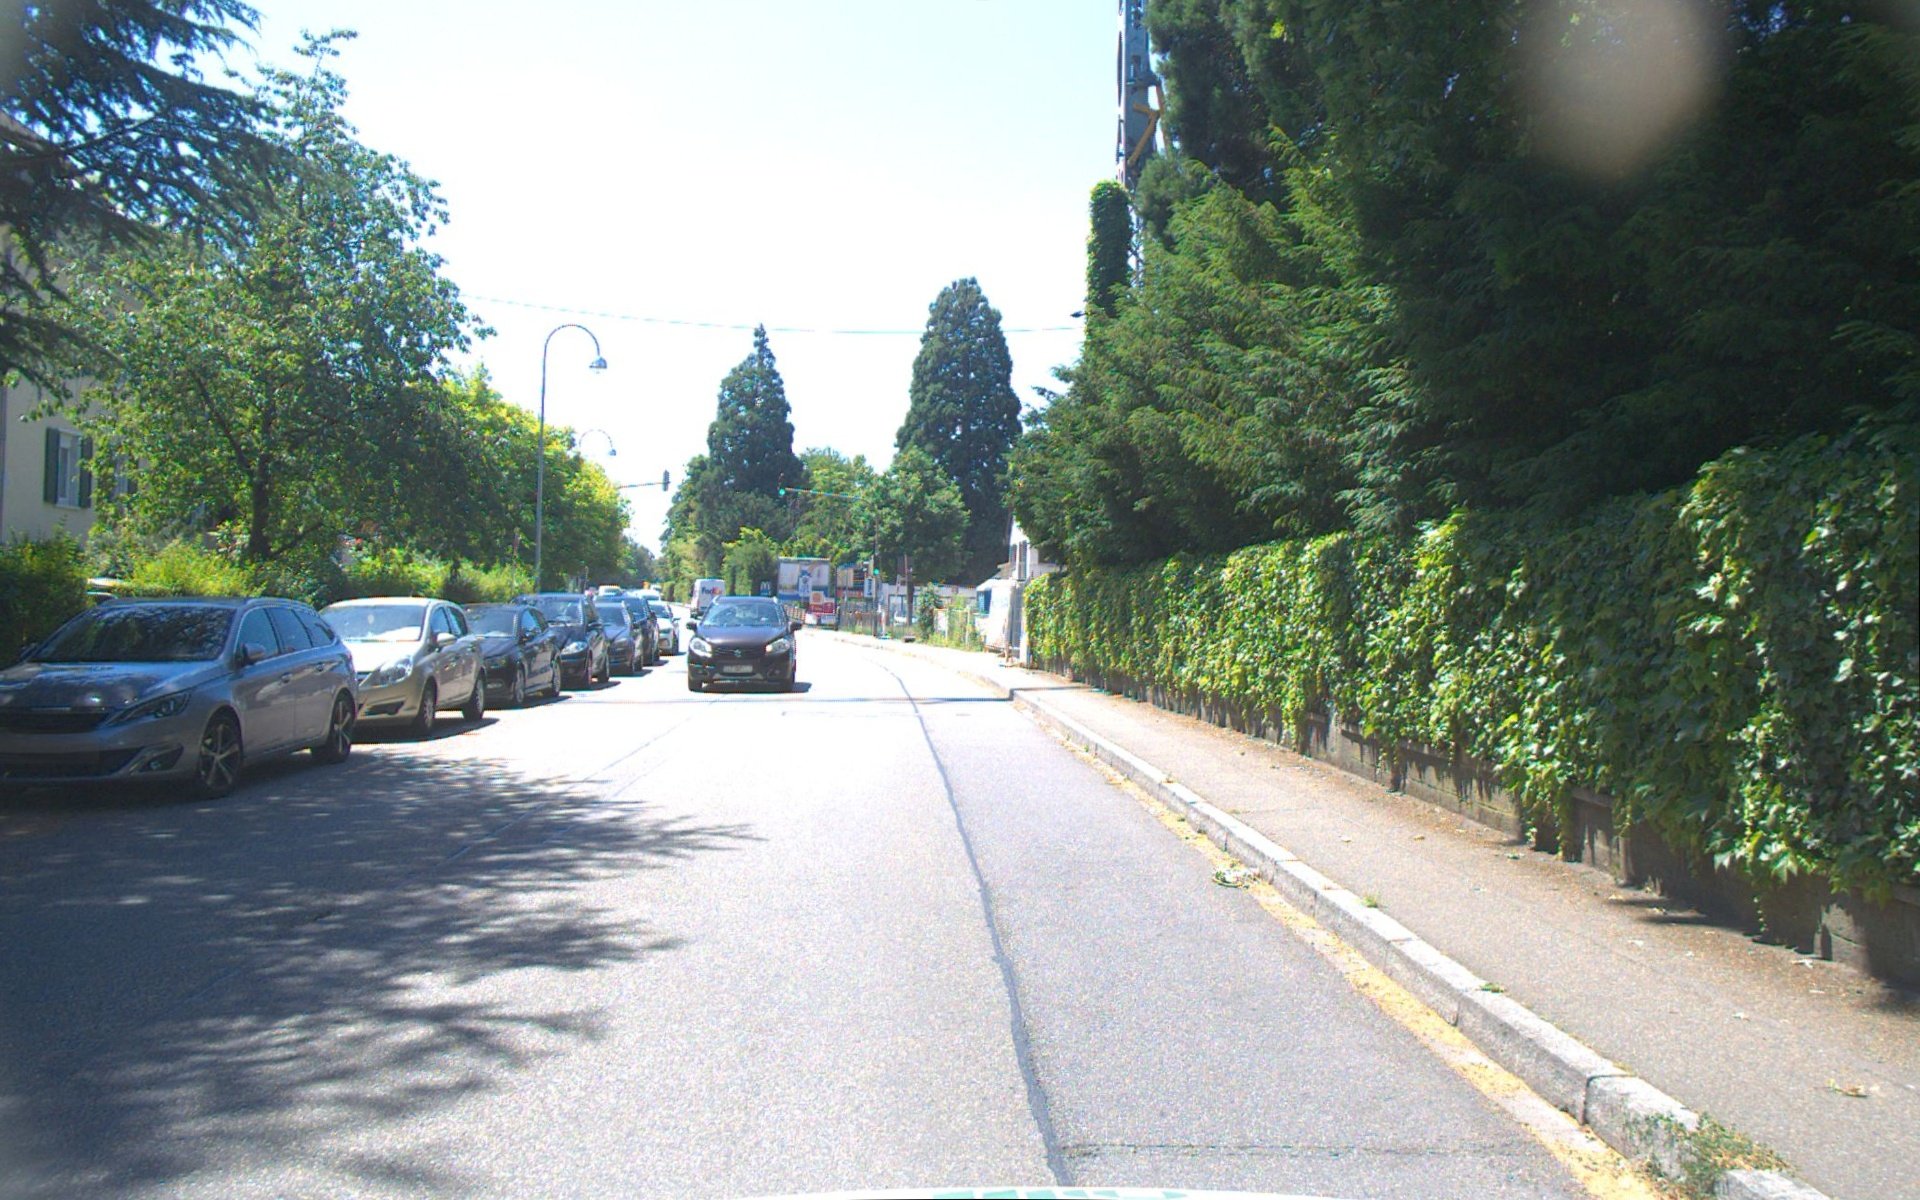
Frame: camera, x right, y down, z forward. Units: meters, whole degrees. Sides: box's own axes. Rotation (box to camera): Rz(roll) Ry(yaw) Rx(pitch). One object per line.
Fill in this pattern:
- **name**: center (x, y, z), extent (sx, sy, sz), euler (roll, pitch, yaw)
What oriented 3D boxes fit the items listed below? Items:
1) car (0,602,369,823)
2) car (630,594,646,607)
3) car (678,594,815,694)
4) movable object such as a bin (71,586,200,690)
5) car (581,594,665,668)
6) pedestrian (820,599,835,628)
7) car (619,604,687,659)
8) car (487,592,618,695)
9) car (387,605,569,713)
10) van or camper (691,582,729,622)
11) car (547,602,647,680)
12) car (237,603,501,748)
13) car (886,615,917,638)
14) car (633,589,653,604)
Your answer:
- **car**: center (-6.274, 0.755, 13.154), extent (1.760, 1.467, 4.270), euler (0, 0, -2)
- **car**: center (-44.044, 0.014, 226.153), extent (1.960, 1.691, 3.985), euler (2, 0, -14)
- **car**: center (-3.629, 0.721, 28.739), extent (1.860, 1.602, 4.140), euler (1, 0, -1)
- **movable object such as a bin**: center (-9.970, 0.450, 20.053), extent (1.274, 1.220, 0.968), euler (0, 0, -19)
- **car**: center (-8.004, 0.712, 39.570), extent (1.649, 1.666, 4.323), euler (0, 0, -8)
- **pedestrian**: center (-7.358, 0.749, 91.972), extent (0.683, 1.628, 0.571), euler (3, -1, -14)
- **car**: center (-8.529, 0.848, 46.188), extent (1.649, 1.466, 4.240), euler (0, 0, -8)
- **car**: center (-7.022, 0.707, 28.822), extent (1.648, 1.668, 3.786), euler (0, 0, -5)
- **car**: center (-6.837, 0.783, 23.830), extent (1.647, 1.425, 3.788), euler (0, 0, -2)
- **van or camper**: center (-16.223, 0.124, 107.236), extent (2.222, 2.572, 4.746), euler (0, 0, -12)
- **car**: center (-7.445, 0.795, 34.226), extent (1.649, 1.501, 4.323), euler (0, 0, -8)
- **car**: center (-6.554, 0.777, 18.767), extent (1.760, 1.467, 3.783), euler (0, 0, -2)
- **car**: center (-3.494, 1.593, 99.256), extent (1.677, 1.292, 3.384), euler (2, 0, 0)
- **car**: center (-36.768, -0.449, 191.915), extent (1.960, 1.691, 3.985), euler (2, 0, -14)
